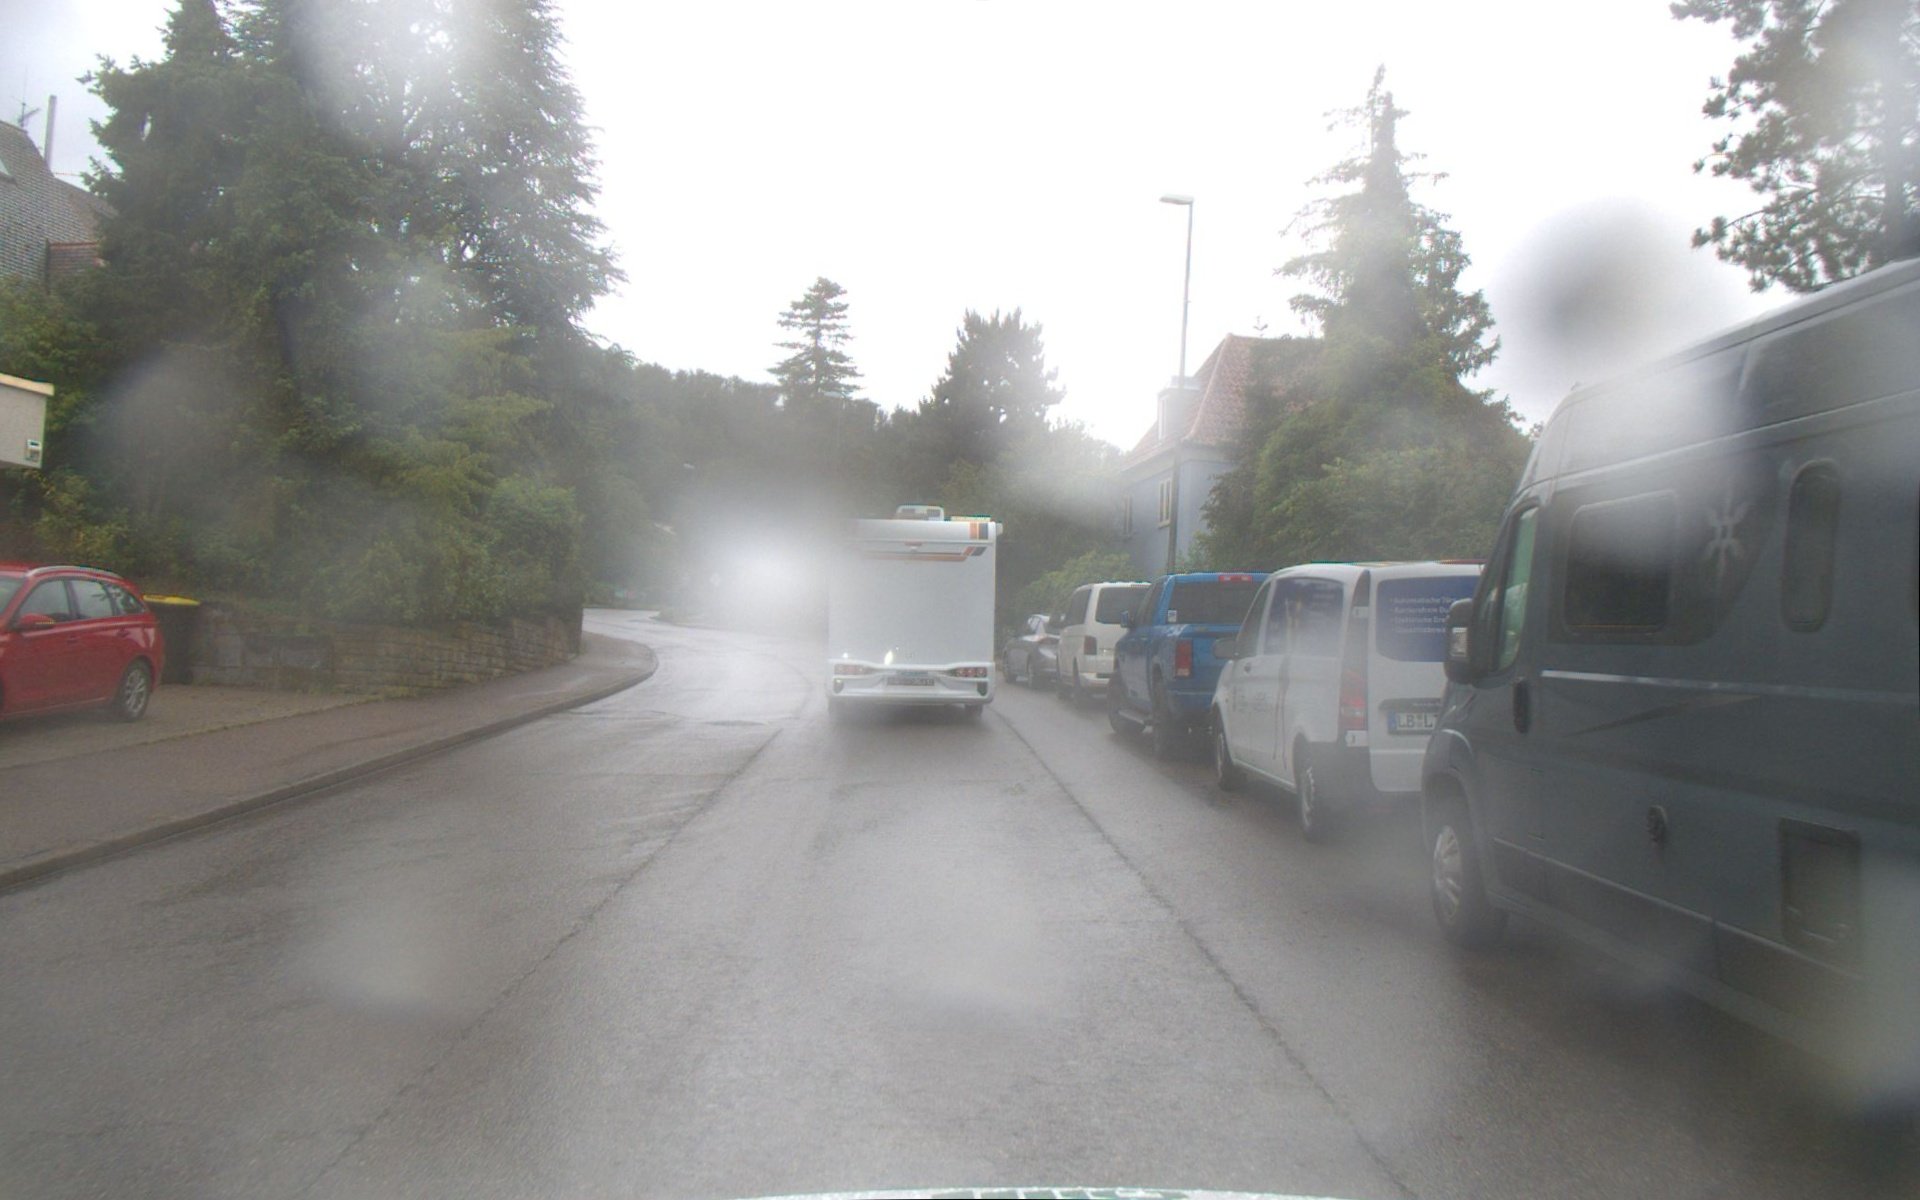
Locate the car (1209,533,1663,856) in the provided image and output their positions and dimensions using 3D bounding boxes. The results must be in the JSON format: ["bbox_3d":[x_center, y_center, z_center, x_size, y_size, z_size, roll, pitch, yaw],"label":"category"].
[{"bbox_3d":[3.169,0.563,12.258,1.790,1.874,5.268,0,0,-1],"label":"car"}]

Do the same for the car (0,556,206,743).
[{"bbox_3d":[-8.749,0.370,14.909,1.739,1.462,4.587,6,0,-1],"label":"car"}]

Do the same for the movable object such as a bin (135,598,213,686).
[{"bbox_3d":[-10.010,0.532,21.080,0.565,1.074,0.684,2,-1,10],"label":"movable object such as a bin"}]

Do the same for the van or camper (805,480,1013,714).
[{"bbox_3d":[-0.685,0.060,24.281,2.562,2.903,6.029,2,-2,-1],"label":"van or camper"}]

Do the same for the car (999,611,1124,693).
[{"bbox_3d":[1.973,0.998,33.254,1.654,1.482,4.049,2,0,-9],"label":"car"}]

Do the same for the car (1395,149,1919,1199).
[{"bbox_3d":[3.256,0.212,5.516,1.990,2.549,5.955,0,0,-1],"label":"car"}]

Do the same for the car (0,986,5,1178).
[{"bbox_3d":[-3.234,0.748,1.985,1.738,1.462,4.360,-2,0,-2],"label":"car"}]

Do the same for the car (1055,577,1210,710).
[{"bbox_3d":[2.765,0.670,27.623,1.823,1.955,5.077,2,0,-2],"label":"car"}]

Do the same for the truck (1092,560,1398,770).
[{"bbox_3d":[2.969,0.630,18.997,2.071,1.884,6.615,3,0,-2],"label":"truck"}]
